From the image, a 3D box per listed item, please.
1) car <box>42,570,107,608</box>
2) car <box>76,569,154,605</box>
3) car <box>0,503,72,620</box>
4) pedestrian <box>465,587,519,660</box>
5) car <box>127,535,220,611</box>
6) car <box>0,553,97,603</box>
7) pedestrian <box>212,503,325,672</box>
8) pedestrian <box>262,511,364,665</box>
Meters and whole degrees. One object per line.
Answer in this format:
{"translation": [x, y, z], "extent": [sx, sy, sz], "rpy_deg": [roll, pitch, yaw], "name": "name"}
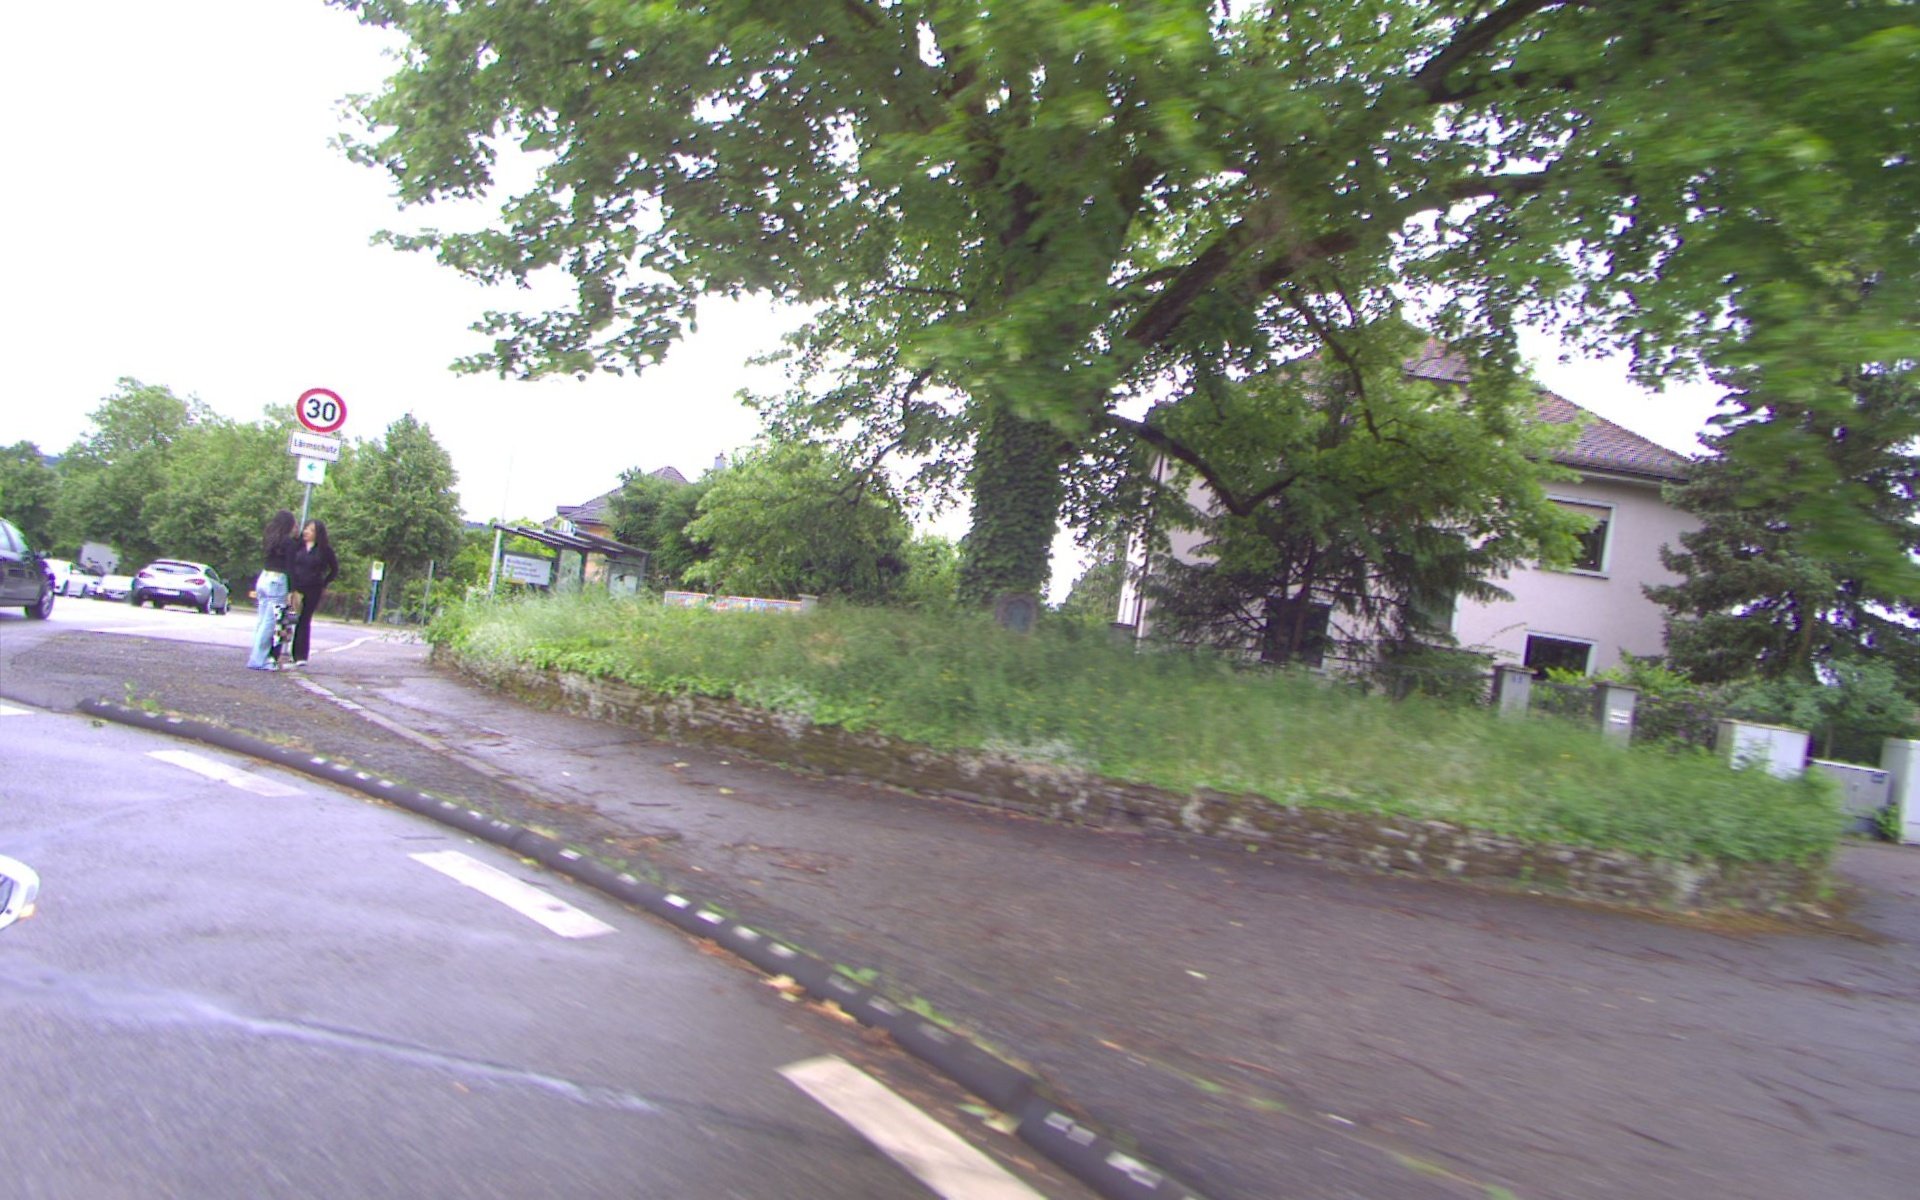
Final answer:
{"translation": [-55.008, -0.687, 62.467], "extent": [3.938, 1.860, 2.068], "rpy_deg": [6, -3, 36], "name": "car"}
{"translation": [-41.559, -0.605, 49.585], "extent": [1.894, 1.407, 4.487], "rpy_deg": [9, -4, -28], "name": "car"}
{"translation": [-14.184, -0.598, 14.034], "extent": [1.752, 1.555, 3.974], "rpy_deg": [8, -5, -29], "name": "car"}
{"translation": [-11.753, 0.592, 25.283], "extent": [0.999, 1.715, 0.953], "rpy_deg": [6, -3, -21], "name": "pedestrian"}
{"translation": [-23.531, -0.739, 30.230], "extent": [1.754, 1.820, 4.214], "rpy_deg": [8, -6, -34], "name": "car"}
{"translation": [-34.780, -0.796, 38.373], "extent": [1.896, 1.406, 4.487], "rpy_deg": [10, -6, -30], "name": "car"}
{"translation": [-7.581, -0.119, 11.061], "extent": [0.624, 1.731, 0.530], "rpy_deg": [8, -2, -4], "name": "pedestrian"}
{"translation": [-7.723, -0.135, 12.024], "extent": [0.520, 1.731, 0.636], "rpy_deg": [6, -3, 27], "name": "pedestrian"}
